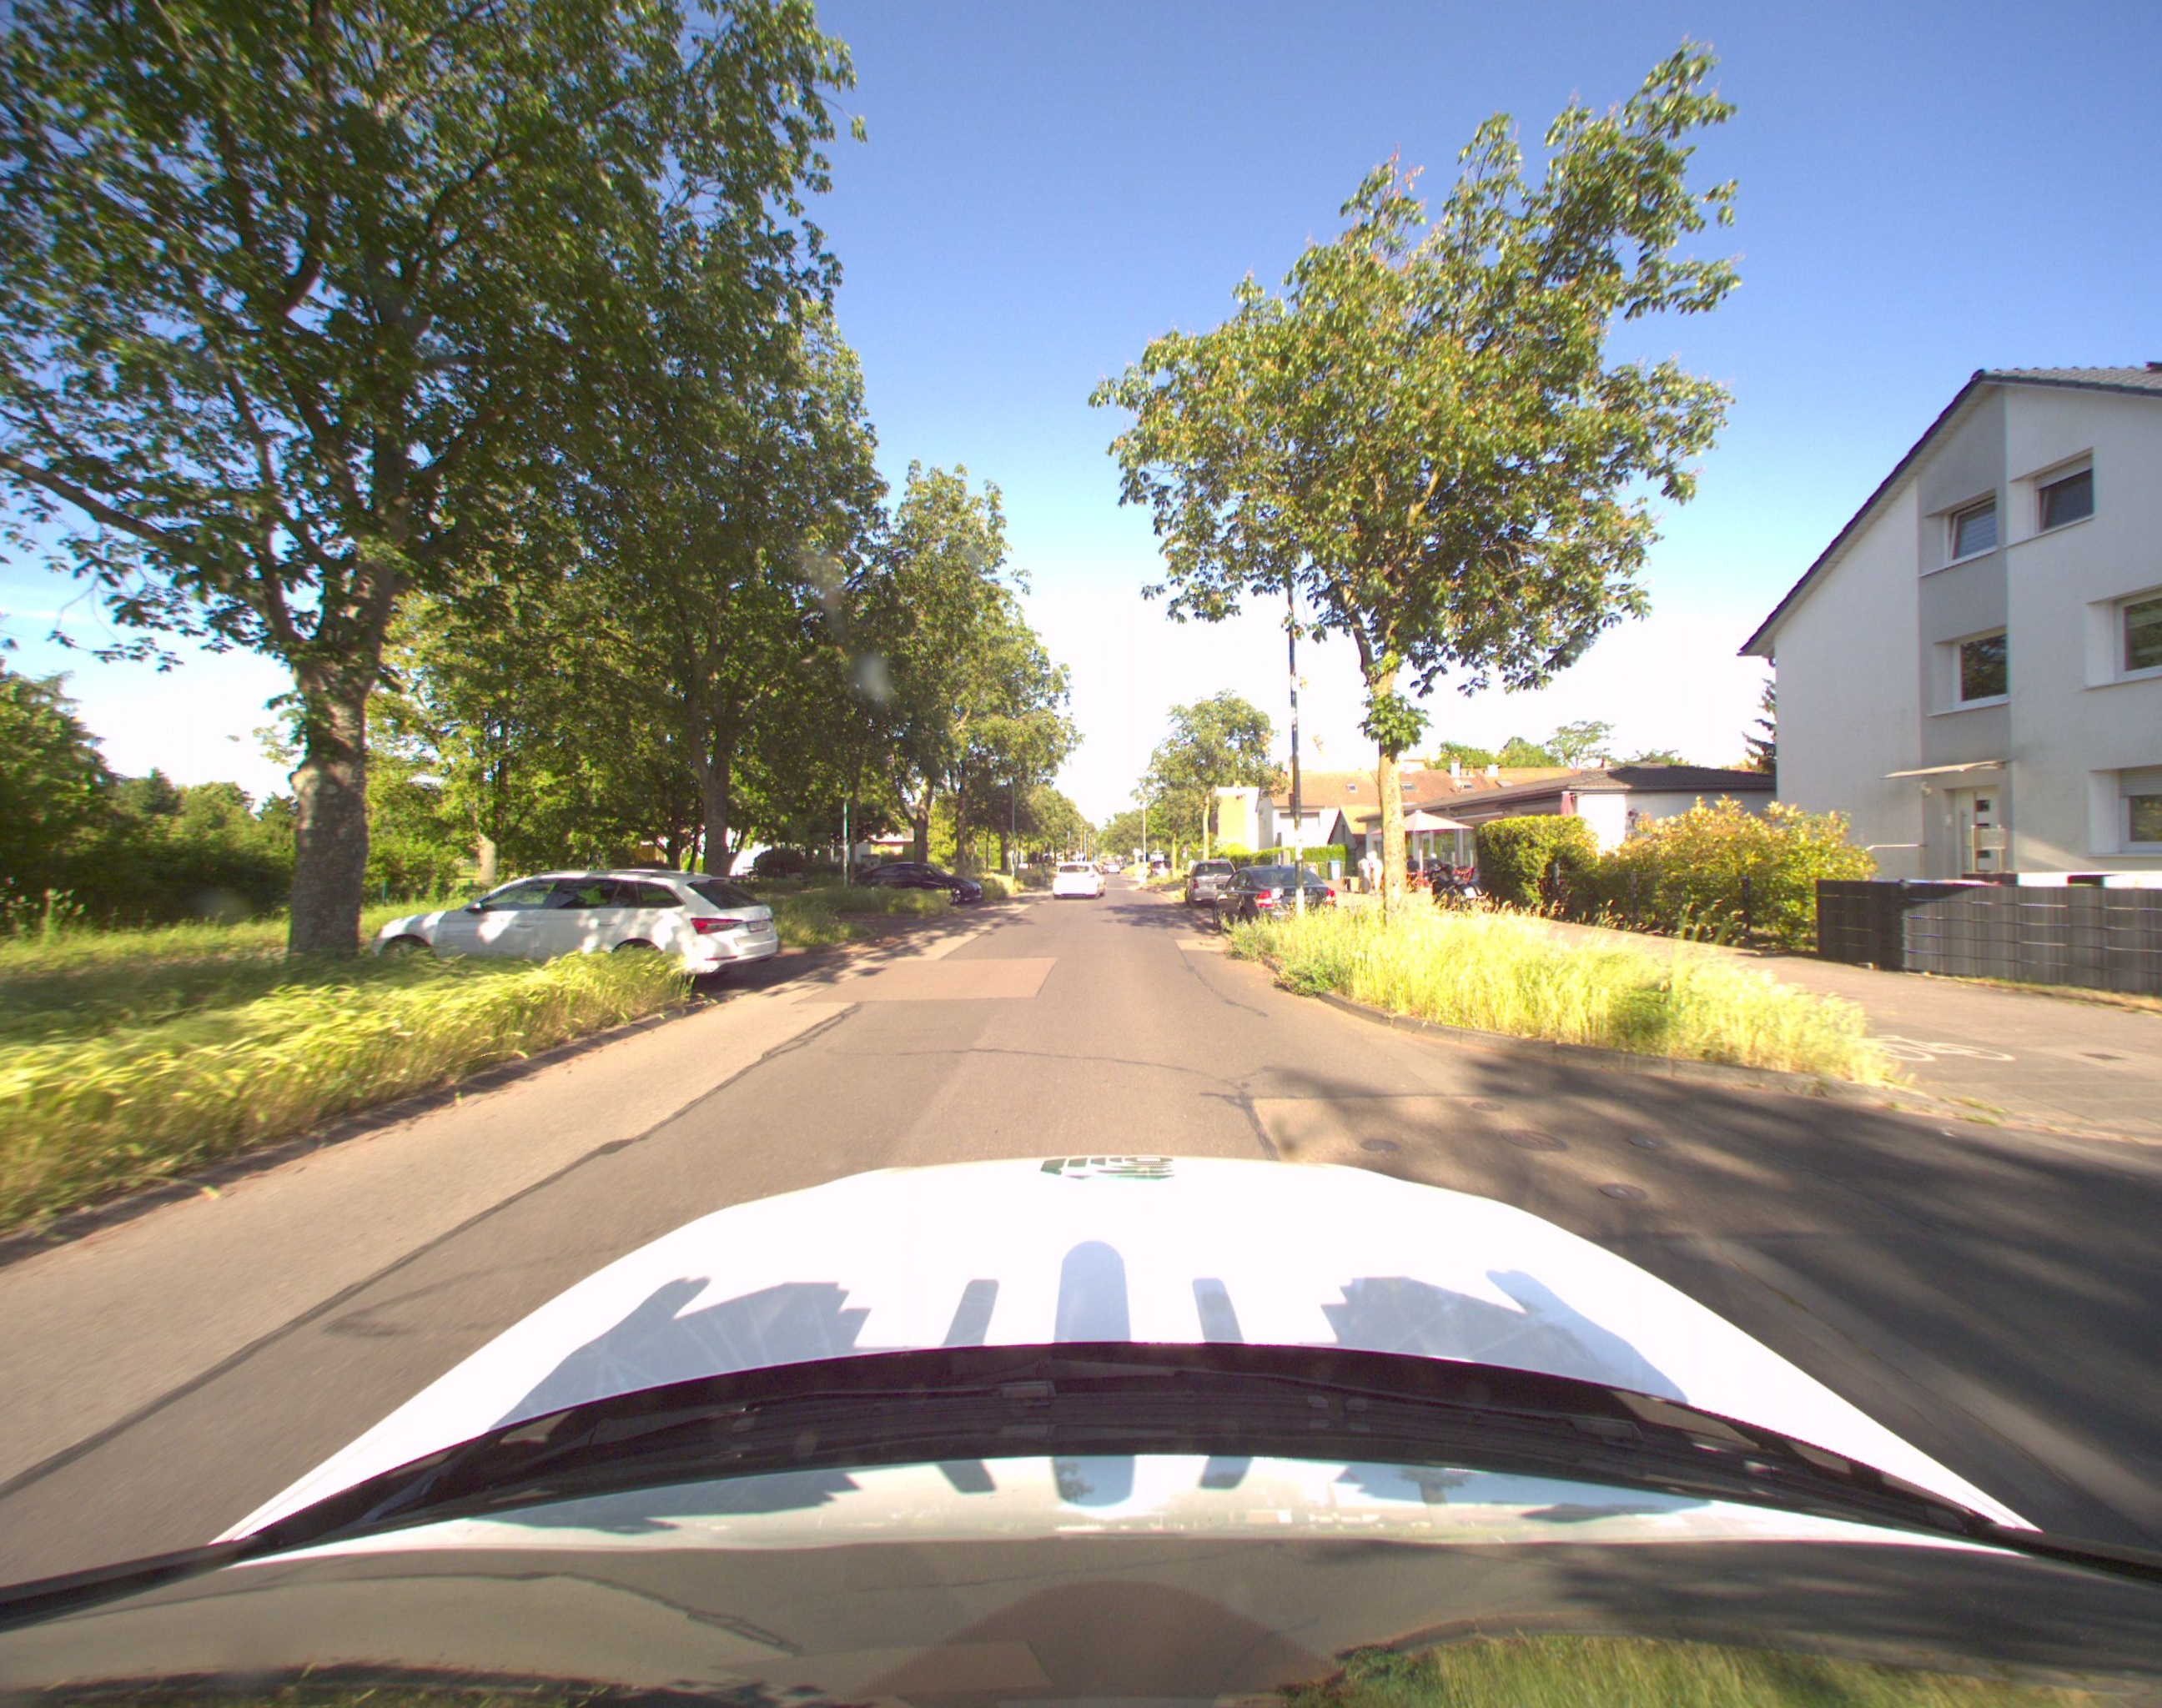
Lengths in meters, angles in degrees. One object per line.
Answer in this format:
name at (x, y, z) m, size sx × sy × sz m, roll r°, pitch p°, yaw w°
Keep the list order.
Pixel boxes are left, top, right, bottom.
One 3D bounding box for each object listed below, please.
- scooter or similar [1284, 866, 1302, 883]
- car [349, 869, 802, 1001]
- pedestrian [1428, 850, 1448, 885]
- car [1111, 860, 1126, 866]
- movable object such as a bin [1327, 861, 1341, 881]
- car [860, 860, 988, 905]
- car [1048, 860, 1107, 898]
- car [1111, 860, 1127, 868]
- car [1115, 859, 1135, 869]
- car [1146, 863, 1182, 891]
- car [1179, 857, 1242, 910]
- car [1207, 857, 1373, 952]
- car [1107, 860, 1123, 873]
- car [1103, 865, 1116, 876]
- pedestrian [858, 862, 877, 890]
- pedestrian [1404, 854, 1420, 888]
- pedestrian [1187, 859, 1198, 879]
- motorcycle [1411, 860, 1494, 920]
scooter or similar at (11.271, 1.068, 43.334) m, size 0.368 × 0.858 × 1.406 m, roll 0°, pitch 0°, yaw -11°
car at (-6.316, 0.964, 10.583) m, size 4.652 × 1.503 × 2.002 m, roll 0°, pitch 0°, yaw 3°
pedestrian at (14.619, 0.563, 33.346) m, size 0.655 × 1.409 × 0.496 m, roll -3°, pitch -2°, yaw 30°
car at (9.940, 2.394, 215.895) m, size 3.975 × 1.750 × 1.999 m, roll 0°, pitch -1°, yaw -1°
movable object such as a bin at (14.020, 0.941, 45.117) m, size 0.491 × 1.032 × 0.747 m, roll -3°, pitch -1°, yaw 1°
car at (-5.762, 1.033, 30.229) m, size 4.352 × 1.531 × 1.808 m, roll 1°, pitch -1°, yaw 0°
car at (-0.088, 0.968, 33.532) m, size 1.984 × 1.455 × 4.231 m, roll 0°, pitch 0°, yaw 6°
car at (9.602, 2.550, 205.620) m, size 3.973 × 2.014 × 2.000 m, roll 0°, pitch -1°, yaw 0°
car at (8.783, 2.010, 163.556) m, size 3.973 × 2.014 × 2.000 m, roll 0°, pitch -2°, yaw 0°
car at (5.582, 1.543, 55.160) m, size 1.987 × 1.728 × 3.998 m, roll -2°, pitch -1°, yaw 0°
car at (4.404, 0.965, 28.278) m, size 1.604 × 1.622 × 4.384 m, roll 3°, pitch -1°, yaw 2°
car at (4.097, 0.923, 16.784) m, size 1.990 × 1.622 × 4.375 m, roll 3°, pitch -1°, yaw -4°
car at (4.324, 1.561, 104.327) m, size 1.986 × 1.508 × 3.660 m, roll 3°, pitch -1°, yaw 2°
car at (4.169, 2.368, 120.079) m, size 1.810 × 1.508 × 3.660 m, roll 3°, pitch -1°, yaw 2°
pedestrian at (-14.276, 1.444, 54.476) m, size 1.227 × 1.827 × 1.543 m, roll 1°, pitch -1°, yaw -15°
pedestrian at (13.577, 0.682, 33.391) m, size 0.437 × 1.385 × 0.640 m, roll 1°, pitch -1°, yaw 7°
pedestrian at (11.534, 1.581, 84.305) m, size 1.108 × 2.014 × 0.922 m, roll 0°, pitch -1°, yaw 2°
motorcycle at (8.407, 0.780, 18.559) m, size 0.815 × 1.227 × 2.352 m, roll -2°, pitch 0°, yaw 1°
